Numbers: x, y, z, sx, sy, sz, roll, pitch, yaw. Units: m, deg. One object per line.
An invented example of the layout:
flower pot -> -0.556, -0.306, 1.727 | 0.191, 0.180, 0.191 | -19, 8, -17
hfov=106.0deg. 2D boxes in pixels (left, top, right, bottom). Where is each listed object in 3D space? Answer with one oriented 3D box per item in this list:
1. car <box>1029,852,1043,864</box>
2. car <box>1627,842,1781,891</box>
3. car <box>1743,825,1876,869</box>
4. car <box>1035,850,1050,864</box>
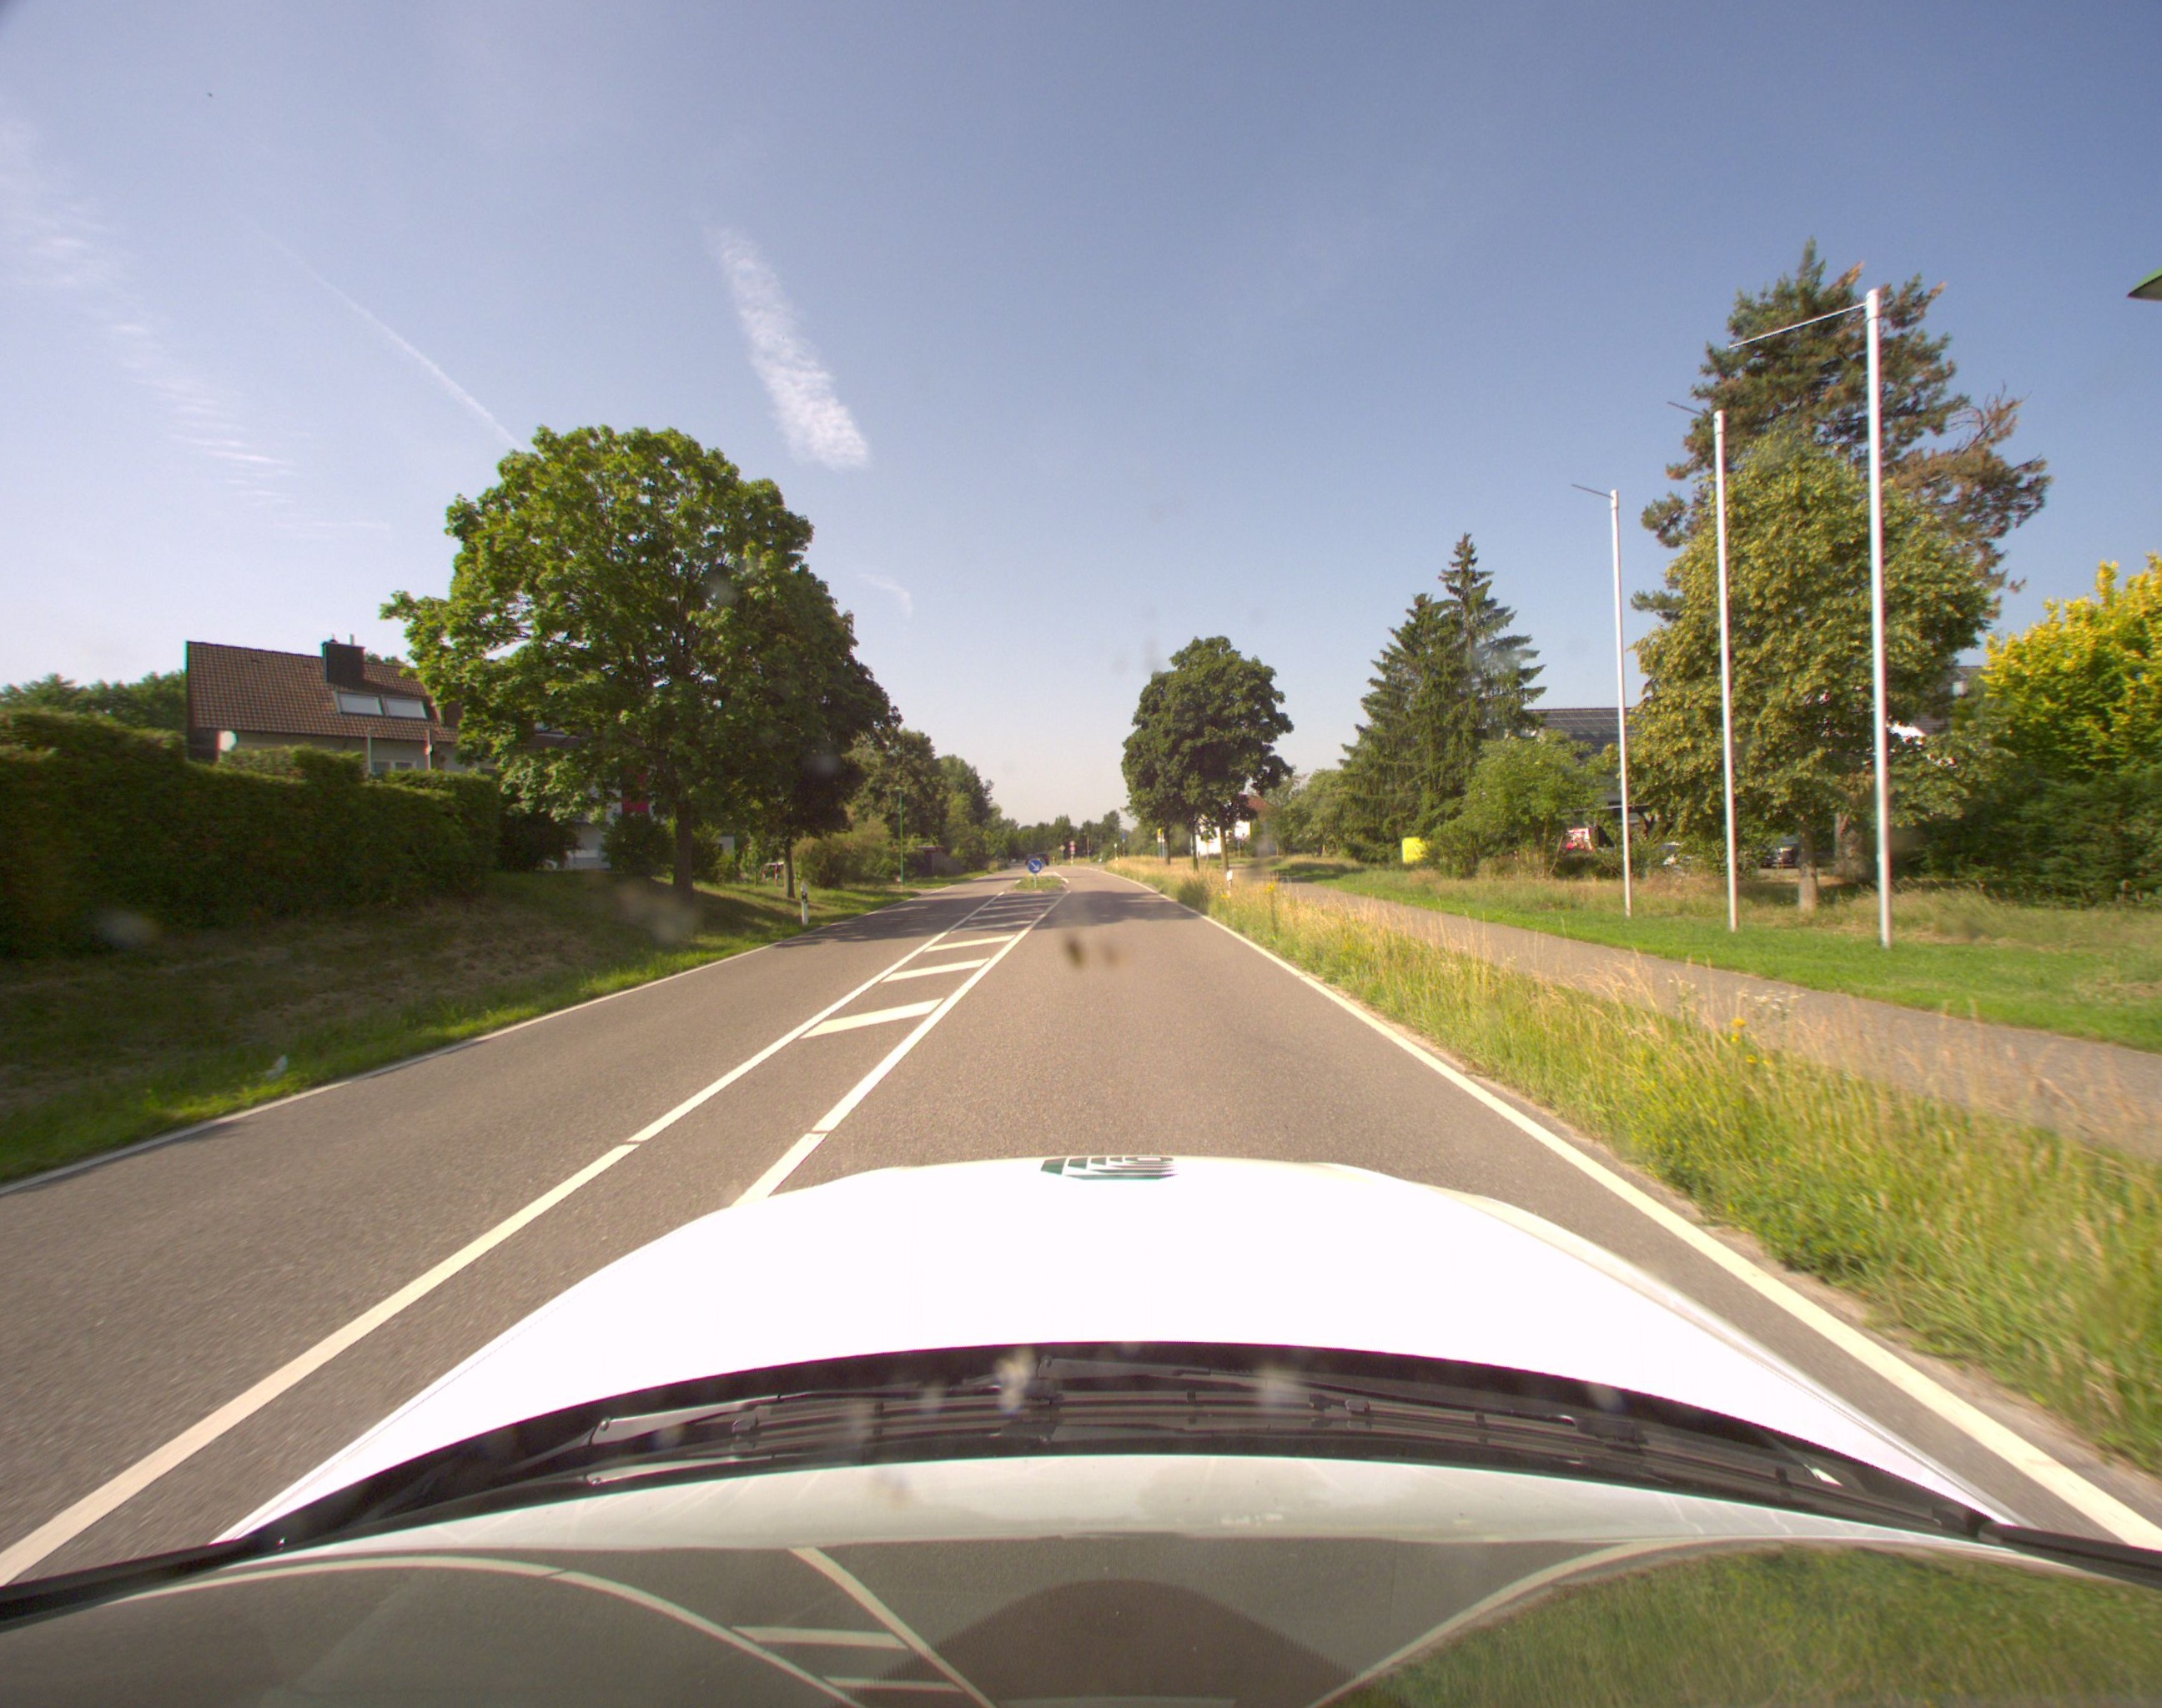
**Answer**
car -> -6.984, 0.588, 125.188 | 2.001, 1.771, 3.993 | -2, 1, -5
car -> 20.896, 0.400, 27.391 | 3.983, 1.434, 1.811 | -2, 0, -7
car -> 30.045, -0.280, 33.670 | 3.916, 1.662, 1.839 | -2, 0, -2
car -> -4.998, 0.343, 105.745 | 1.921, 1.771, 3.995 | -2, 1, -4
